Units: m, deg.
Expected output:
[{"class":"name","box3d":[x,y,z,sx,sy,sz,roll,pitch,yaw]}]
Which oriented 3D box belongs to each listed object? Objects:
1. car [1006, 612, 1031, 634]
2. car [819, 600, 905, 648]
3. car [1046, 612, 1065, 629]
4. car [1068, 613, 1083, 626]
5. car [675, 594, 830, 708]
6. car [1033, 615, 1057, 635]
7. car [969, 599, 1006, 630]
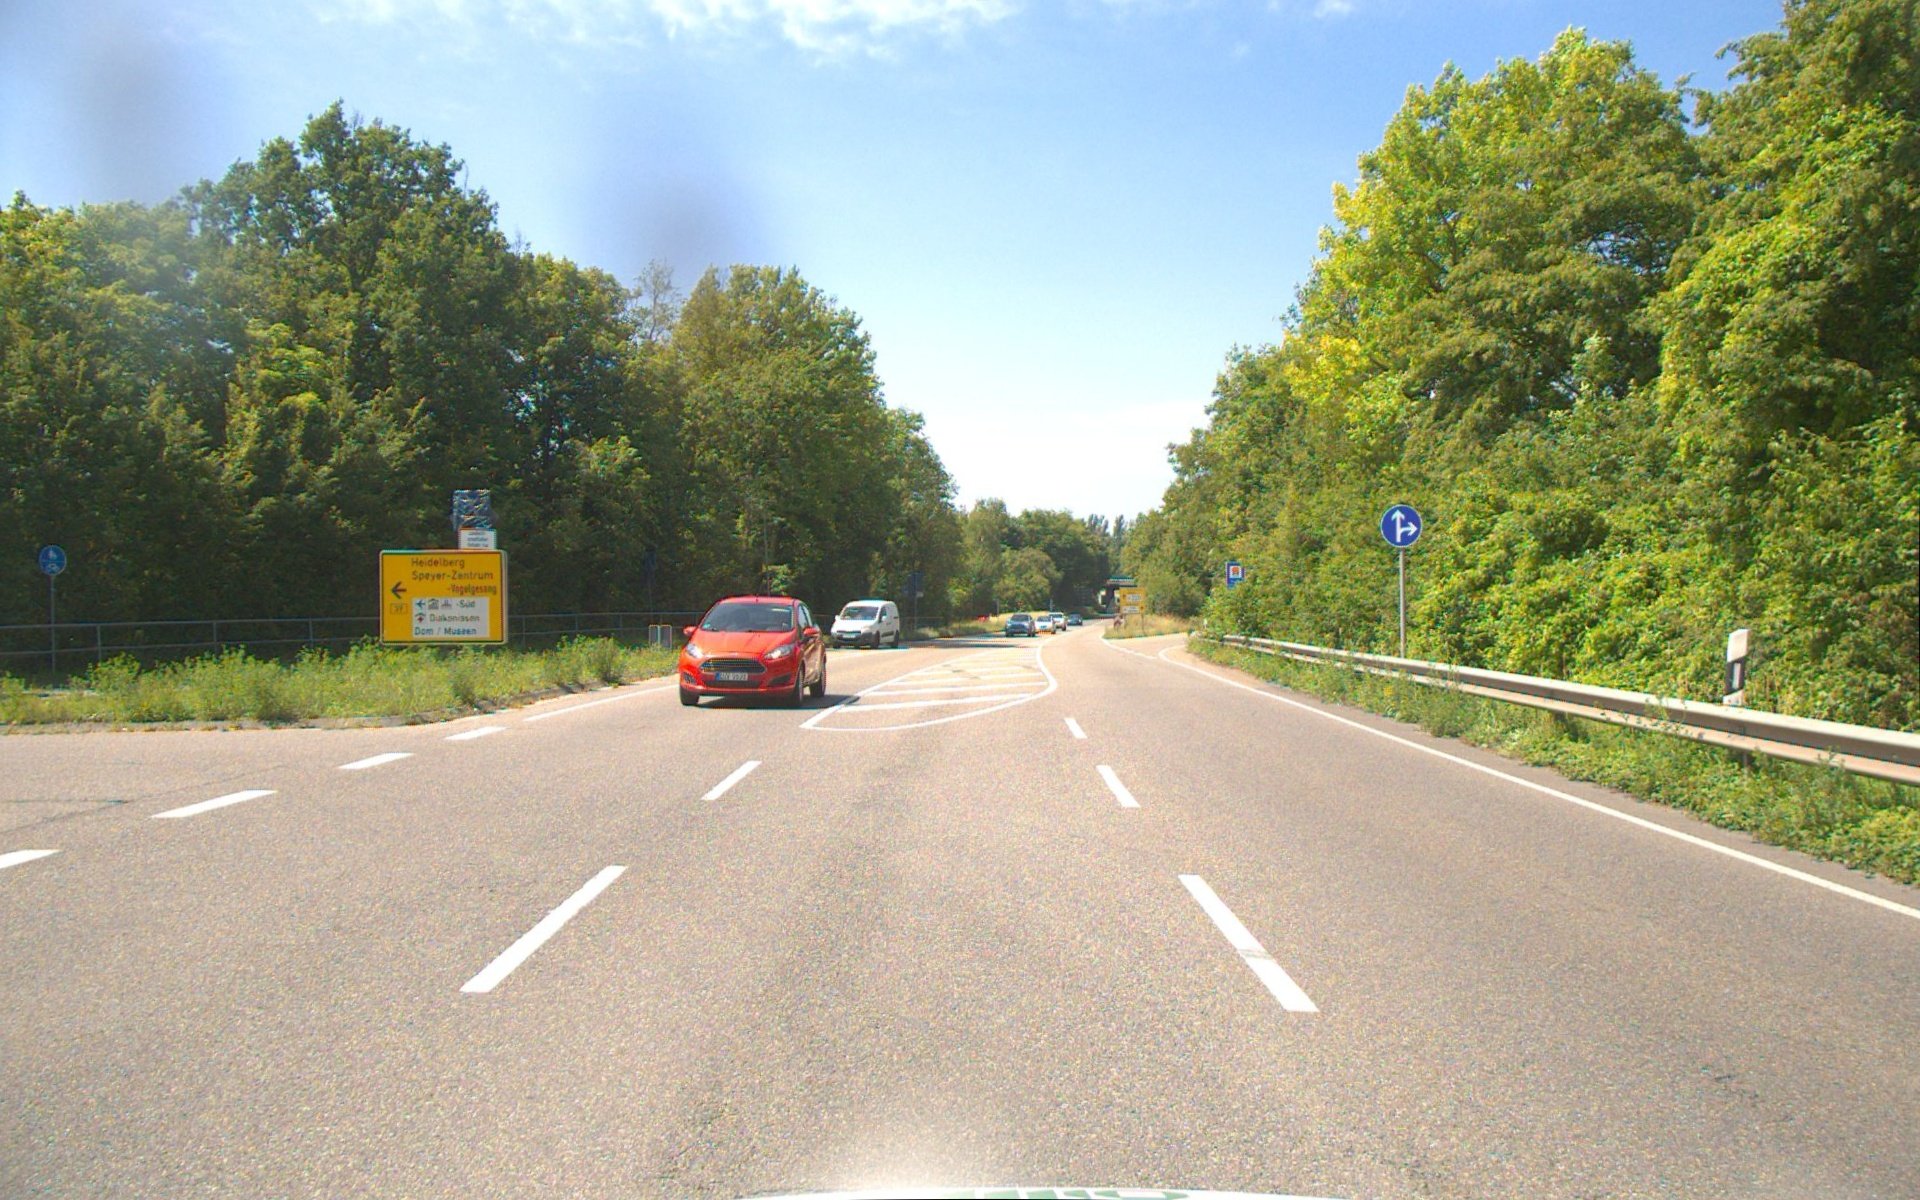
[{"class":"car","box3d":[4.292,1.696,121.455,1.642,1.554,4.002,0,0,5]},{"class":"car","box3d":[-3.675,0.893,62.866,1.951,1.760,4.277,-1,0,16]},{"class":"car","box3d":[9.222,1.997,160.019,1.683,1.555,3.712,0,0,6]},{"class":"car","box3d":[13.817,2.283,197.196,1.683,1.535,3.712,0,0,6]},{"class":"car","box3d":[-2.869,0.673,23.578,1.773,1.483,3.757,0,0,-1]},{"class":"car","box3d":[7.053,2.050,137.048,1.641,1.554,4.003,0,0,7]},{"class":"car","box3d":[2.921,1.596,178.491,1.971,3.282,4.763,0,0,-29]}]
